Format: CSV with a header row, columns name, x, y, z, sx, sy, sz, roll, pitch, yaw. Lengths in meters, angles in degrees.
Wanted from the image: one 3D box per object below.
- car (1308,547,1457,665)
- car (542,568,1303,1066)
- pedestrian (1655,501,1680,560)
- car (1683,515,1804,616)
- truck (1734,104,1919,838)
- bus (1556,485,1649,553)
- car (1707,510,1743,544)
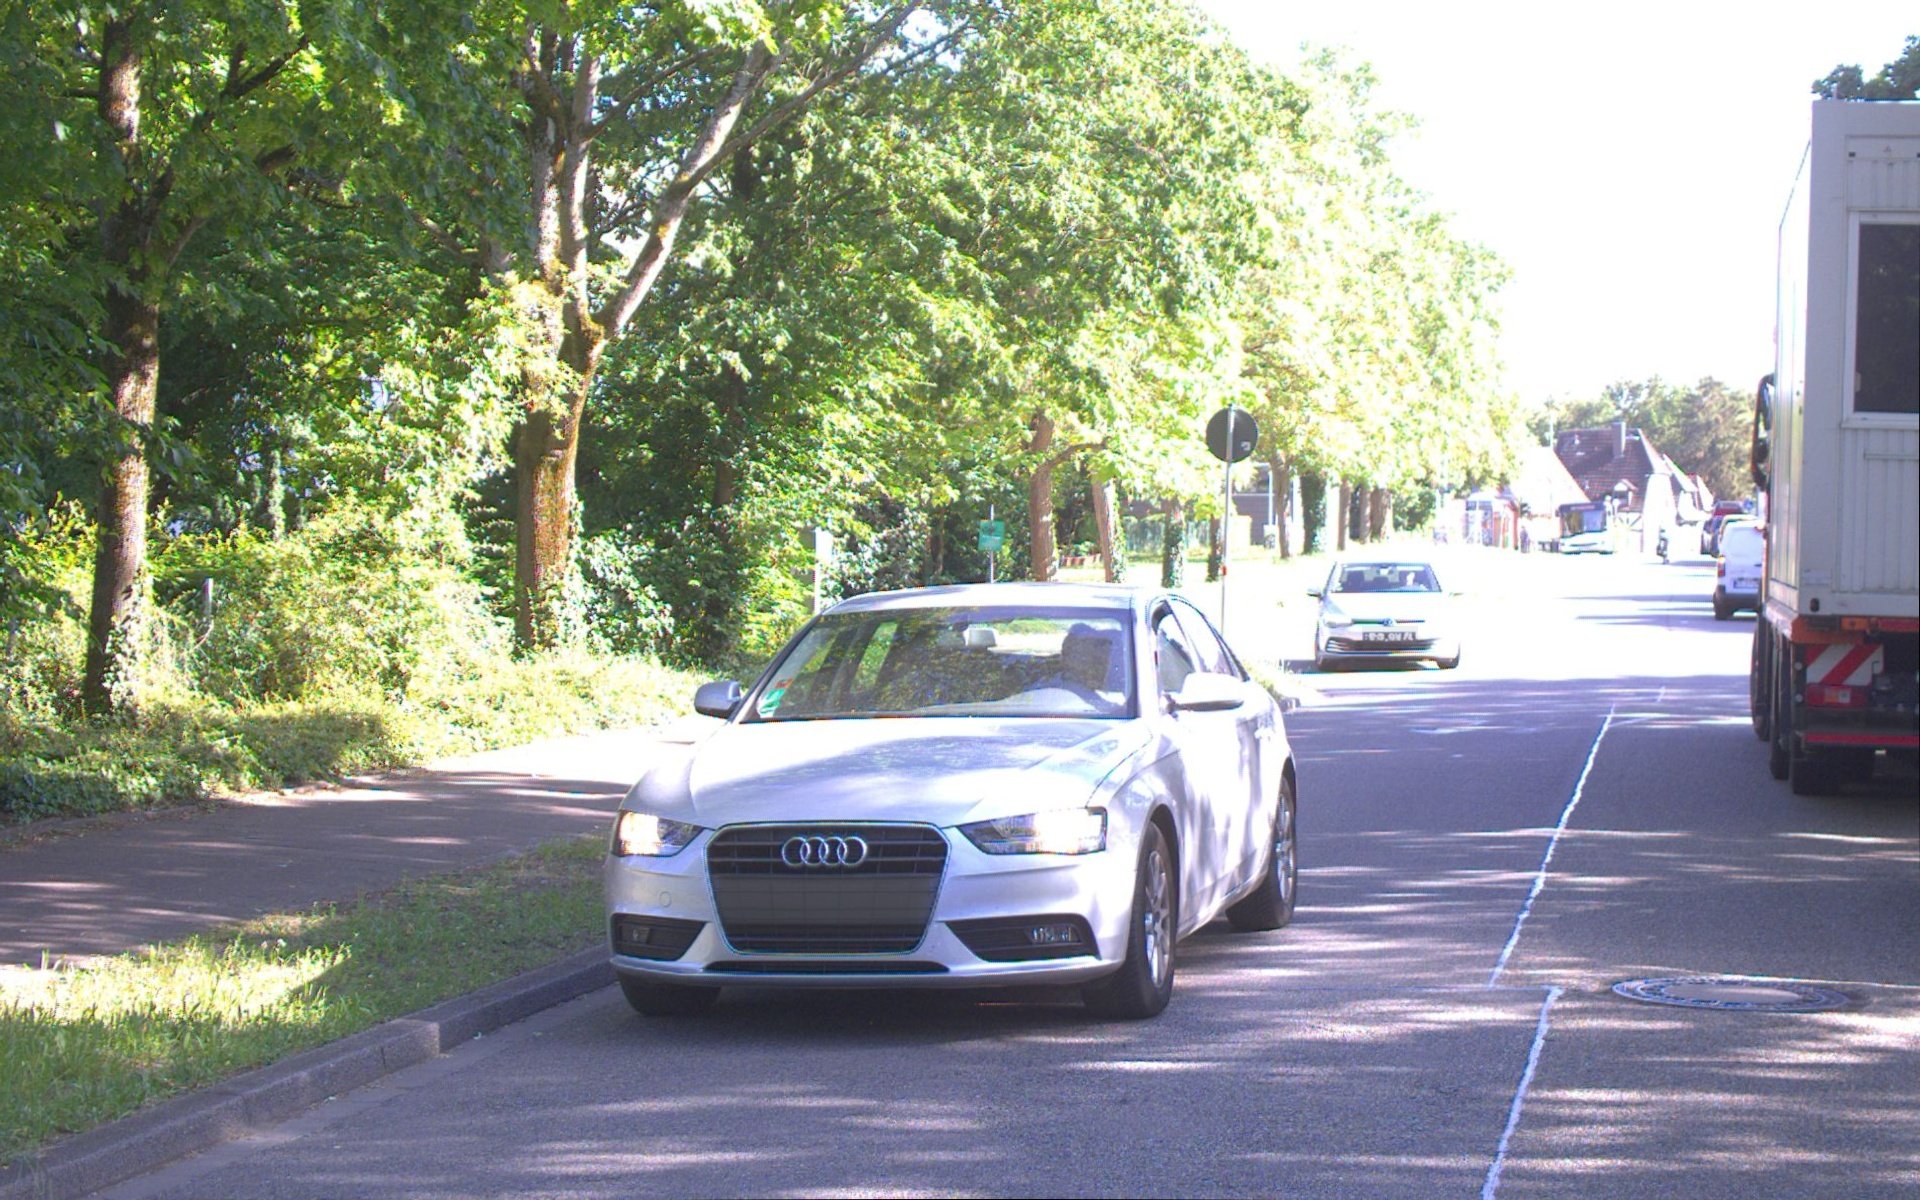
name,x,y,z,sx,sy,sz,roll,pitch,yaw
car,5.532,0.049,44.698,1.806,1.415,3.958,-1,1,8
car,0.065,0.636,12.380,1.788,1.412,4.102,-1,1,13
pedestrian,25.524,-2.503,124.018,0.753,2.106,0.798,3,1,15
car,14.798,-0.675,65.093,1.947,1.836,3.999,1,1,9
truck,6.929,-0.788,23.605,2.774,3.982,10.343,2,2,11
bus,32.898,-4.128,175.710,4.068,3.337,9.794,0,1,14
car,40.966,-3.890,184.131,1.782,1.802,3.998,0,1,11
